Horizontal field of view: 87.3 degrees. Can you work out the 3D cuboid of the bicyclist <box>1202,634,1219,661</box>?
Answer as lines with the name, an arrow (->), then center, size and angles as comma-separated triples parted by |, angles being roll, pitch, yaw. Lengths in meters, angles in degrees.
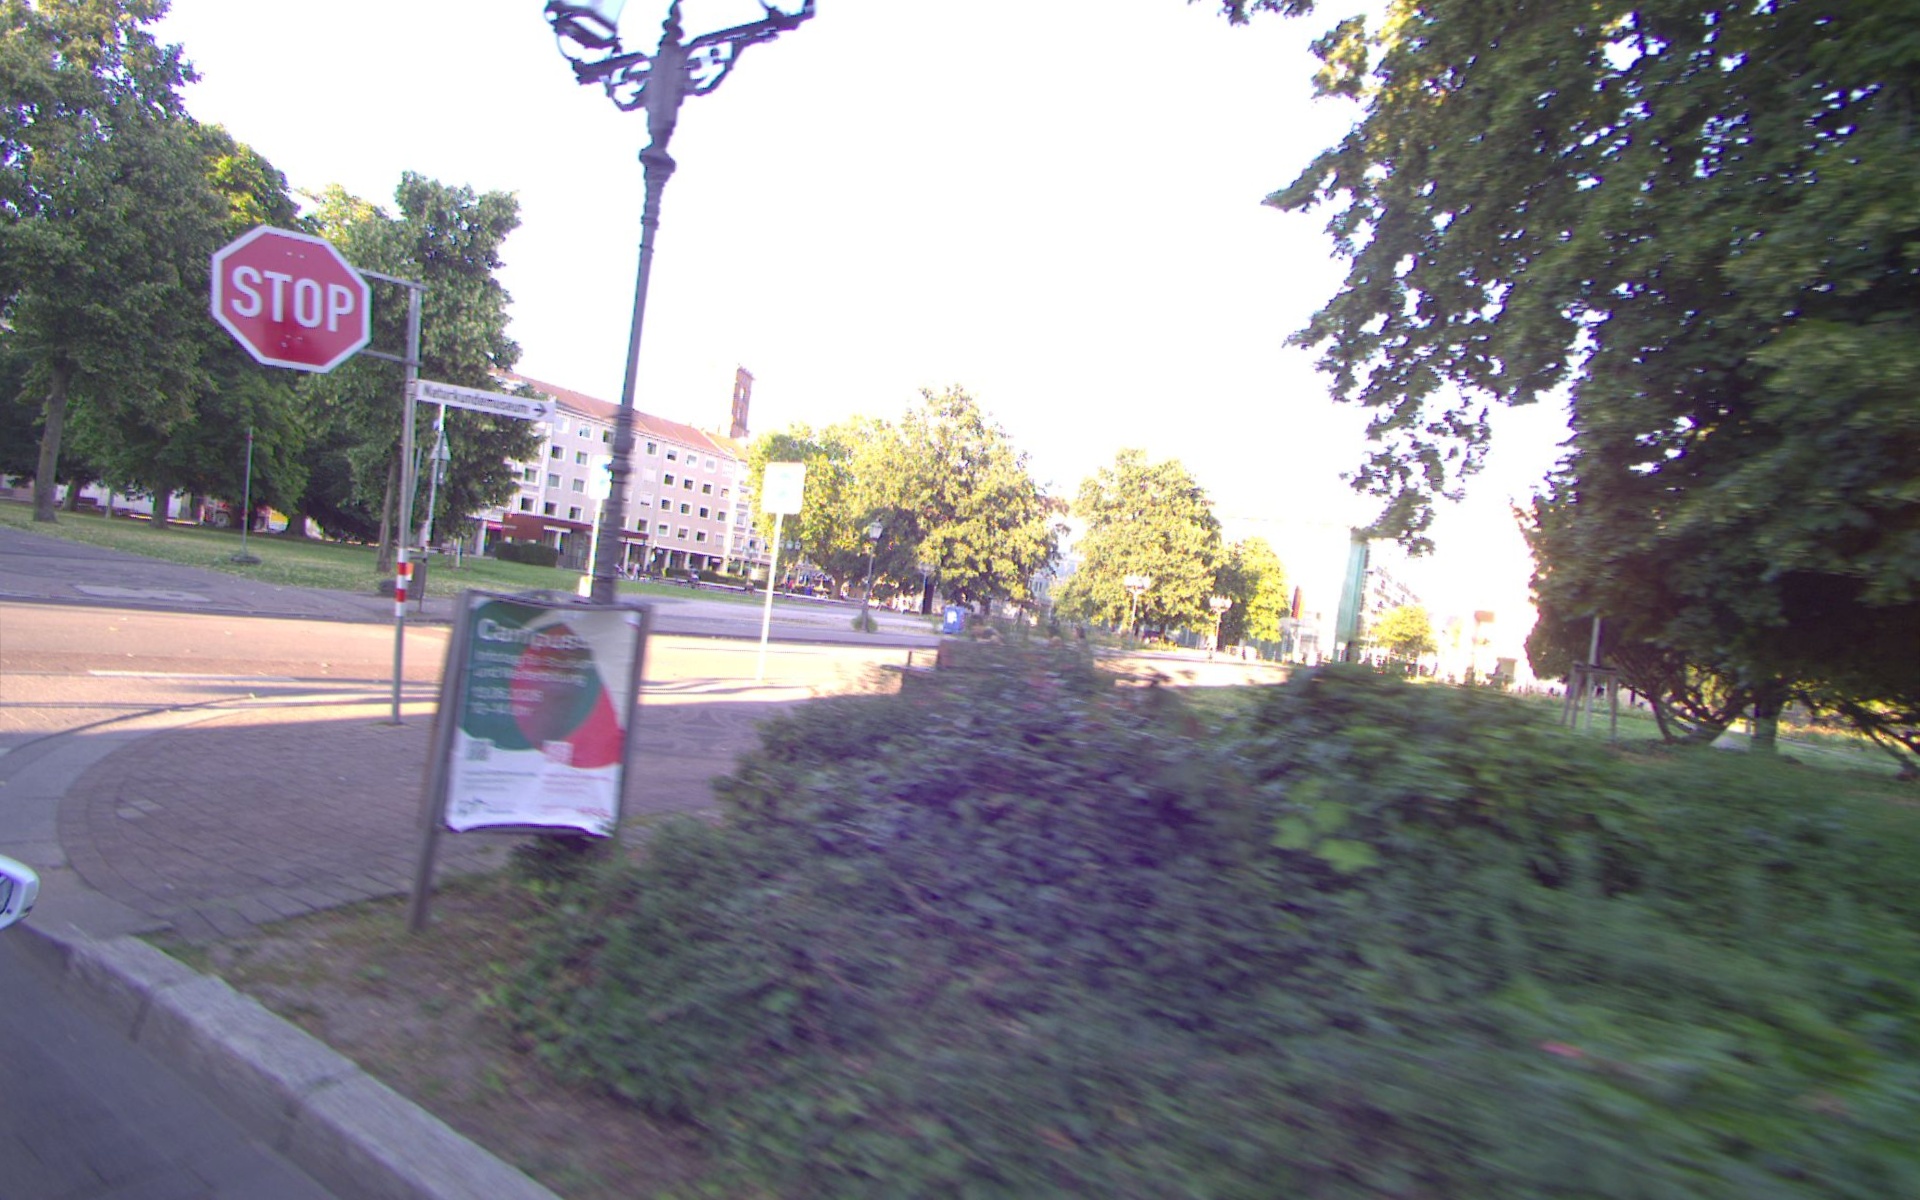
bicyclist -> 14.479, 2.736, 58.174 | 0.630, 1.462, 0.695 | 8, 1, 25

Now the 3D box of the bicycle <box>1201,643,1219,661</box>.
bicycle -> 14.485, 3.027, 58.270 | 0.630, 0.953, 1.462 | 8, 0, 25

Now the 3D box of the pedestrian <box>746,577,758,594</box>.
pedestrian -> -14.153, -0.994, 68.424 | 0.611, 1.091, 0.511 | 7, 1, -8

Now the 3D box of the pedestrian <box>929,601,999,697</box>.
pedestrian -> 0.066, 0.707, 14.694 | 0.857, 1.277, 0.598 | 7, 1, 0

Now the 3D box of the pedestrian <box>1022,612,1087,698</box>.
pedestrian -> 1.619, 0.939, 17.208 | 0.804, 1.358, 0.598 | 7, 1, 26

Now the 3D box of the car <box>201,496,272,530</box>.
car -> -57.223, -6.846, 79.606 | 1.967, 2.038, 4.035 | 8, 0, 33

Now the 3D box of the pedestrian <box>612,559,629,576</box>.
pedestrian -> -24.311, -2.304, 72.122 | 0.893, 1.091, 0.614 | 6, 1, -41

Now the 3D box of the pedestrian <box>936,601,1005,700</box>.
pedestrian -> 0.150, 0.688, 14.039 | 0.803, 1.253, 0.683 | 7, 1, 1

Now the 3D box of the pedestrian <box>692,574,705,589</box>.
pedestrian -> -17.856, -1.274, 68.642 | 0.609, 0.936, 0.512 | 7, 1, 6

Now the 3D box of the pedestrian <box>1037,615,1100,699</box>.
pedestrian -> 1.920, 1.000, 17.792 | 0.804, 1.358, 0.598 | 7, 1, 26

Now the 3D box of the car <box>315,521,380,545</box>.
car -> -46.049, -5.012, 75.661 | 1.964, 1.255, 3.582 | 7, 0, 25
